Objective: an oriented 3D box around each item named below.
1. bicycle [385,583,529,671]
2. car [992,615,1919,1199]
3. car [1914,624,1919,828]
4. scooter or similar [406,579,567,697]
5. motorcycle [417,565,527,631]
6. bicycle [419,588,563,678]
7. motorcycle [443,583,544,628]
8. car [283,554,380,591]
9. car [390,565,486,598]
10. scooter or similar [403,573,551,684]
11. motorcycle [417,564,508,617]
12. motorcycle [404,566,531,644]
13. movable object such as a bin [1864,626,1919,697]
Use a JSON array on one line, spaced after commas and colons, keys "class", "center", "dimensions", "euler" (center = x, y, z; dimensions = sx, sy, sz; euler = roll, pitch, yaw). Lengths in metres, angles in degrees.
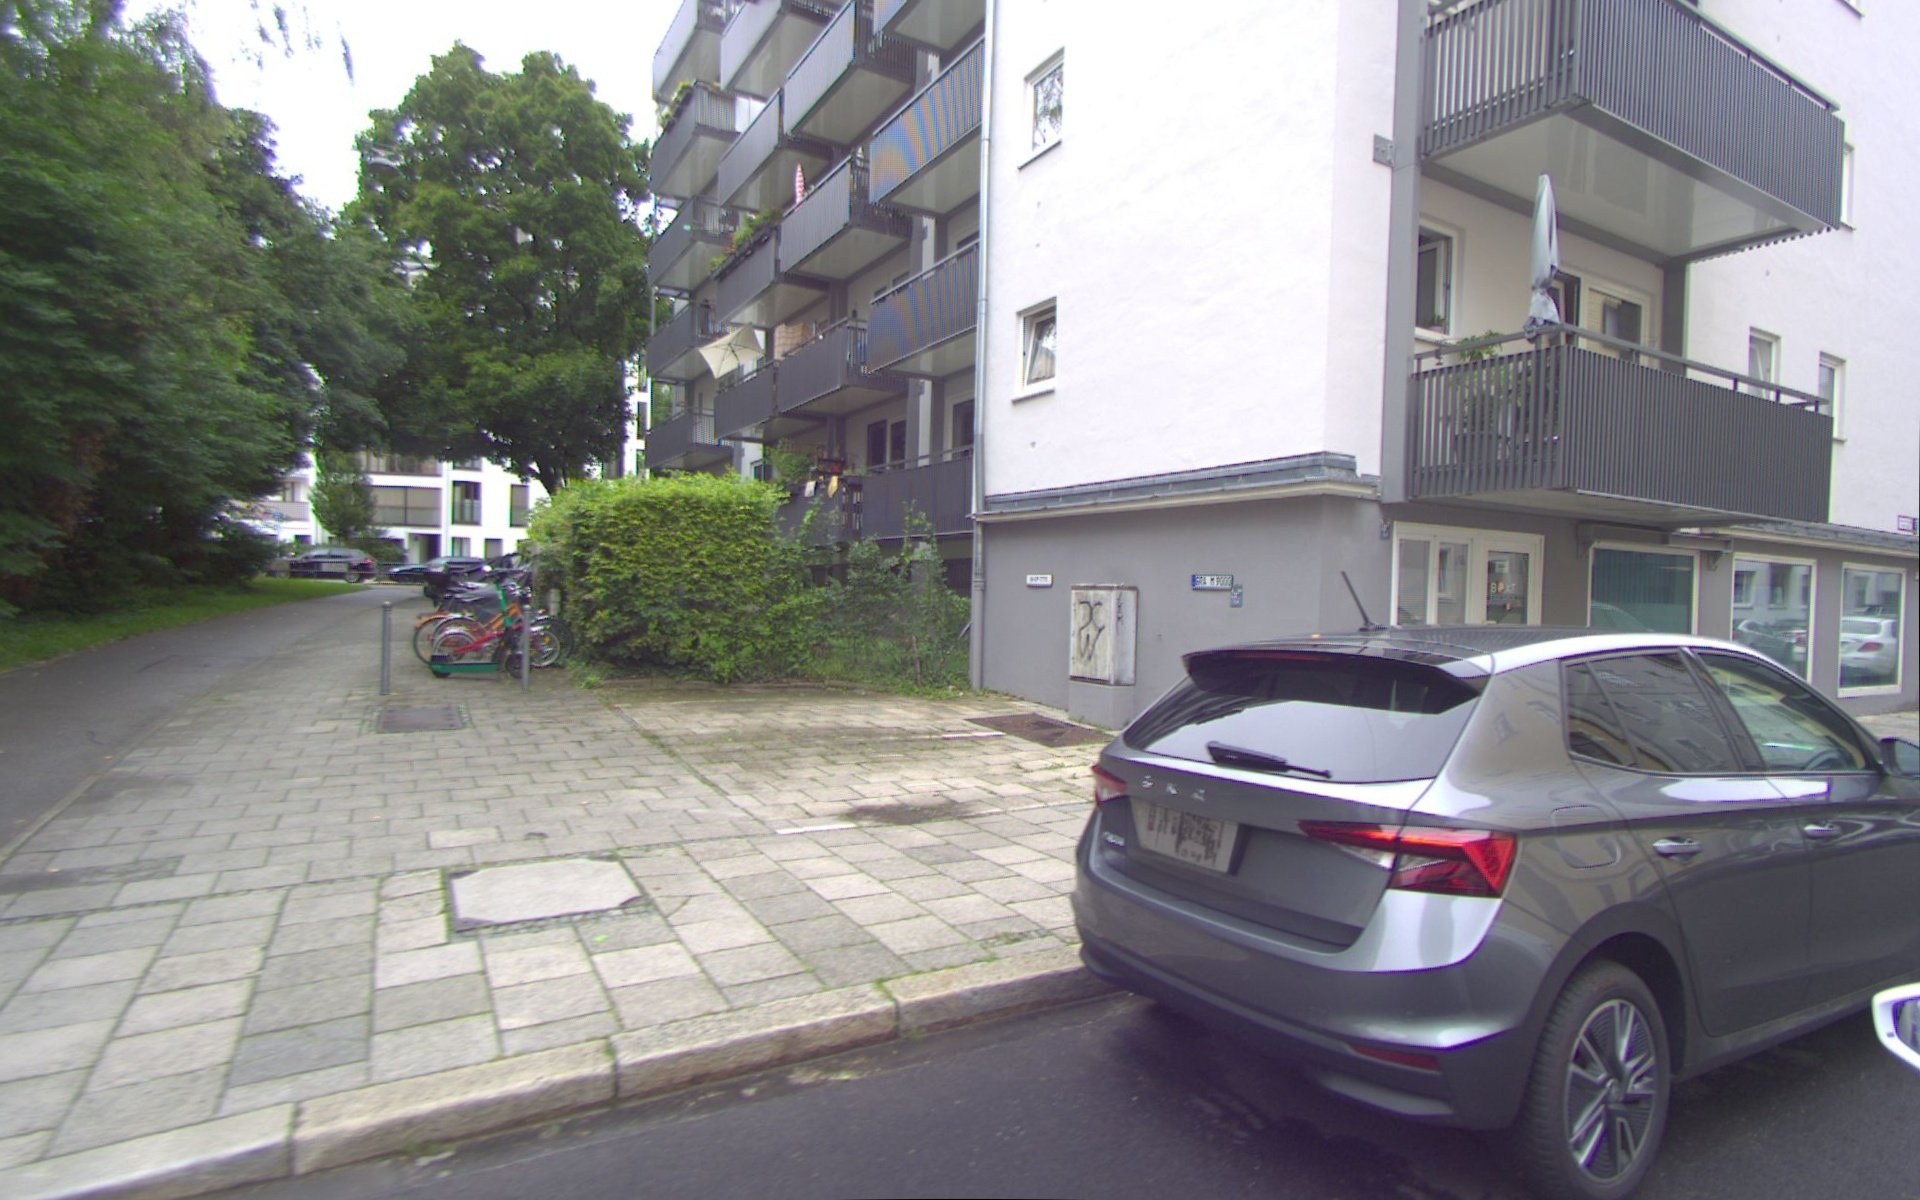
[{"class": "bicycle", "center": [-6.335, 0.329, 12.687], "dimensions": [1.590, 1.053, 0.511], "euler": [0, 1, -32]}, {"class": "car", "center": [2.212, 0.812, 3.735], "dimensions": [3.895, 1.461, 1.685], "euler": [1, 0, -30]}, {"class": "car", "center": [8.973, 0.933, 7.556], "dimensions": [3.933, 1.461, 1.684], "euler": [1, 0, -32]}, {"class": "scooter or similar", "center": [-5.100, 0.393, 10.858], "dimensions": [1.553, 1.219, 0.319], "euler": [0, 1, -32]}, {"class": "motorcycle", "center": [-9.293, -0.062, 19.180], "dimensions": [0.535, 1.214, 1.810], "euler": [2, 3, 41]}, {"class": "bicycle", "center": [-5.794, 0.392, 12.446], "dimensions": [1.590, 1.053, 0.421], "euler": [0, 1, -32]}, {"class": "motorcycle", "center": [-9.505, 0.097, 20.524], "dimensions": [0.535, 0.848, 1.810], "euler": [2, 3, 41]}, {"class": "car", "center": [-30.177, -1.311, 48.379], "dimensions": [3.760, 1.729, 1.761], "euler": [0, 2, -26]}, {"class": "car", "center": [-25.943, -0.907, 50.079], "dimensions": [4.188, 1.567, 1.761], "euler": [0, 2, -26]}, {"class": "scooter or similar", "center": [-5.631, 0.334, 11.762], "dimensions": [1.517, 1.261, 0.345], "euler": [1, 1, -9]}, {"class": "motorcycle", "center": [-11.421, -0.241, 23.099], "dimensions": [0.535, 1.161, 1.810], "euler": [2, 3, 41]}, {"class": "motorcycle", "center": [-7.946, 0.056, 16.232], "dimensions": [1.797, 1.214, 0.539], "euler": [-1, 2, -29]}, {"class": "movable object such as a bin", "center": [18.838, 1.201, 19.869], "dimensions": [0.980, 1.354, 1.154], "euler": [1, -2, -27]}]
